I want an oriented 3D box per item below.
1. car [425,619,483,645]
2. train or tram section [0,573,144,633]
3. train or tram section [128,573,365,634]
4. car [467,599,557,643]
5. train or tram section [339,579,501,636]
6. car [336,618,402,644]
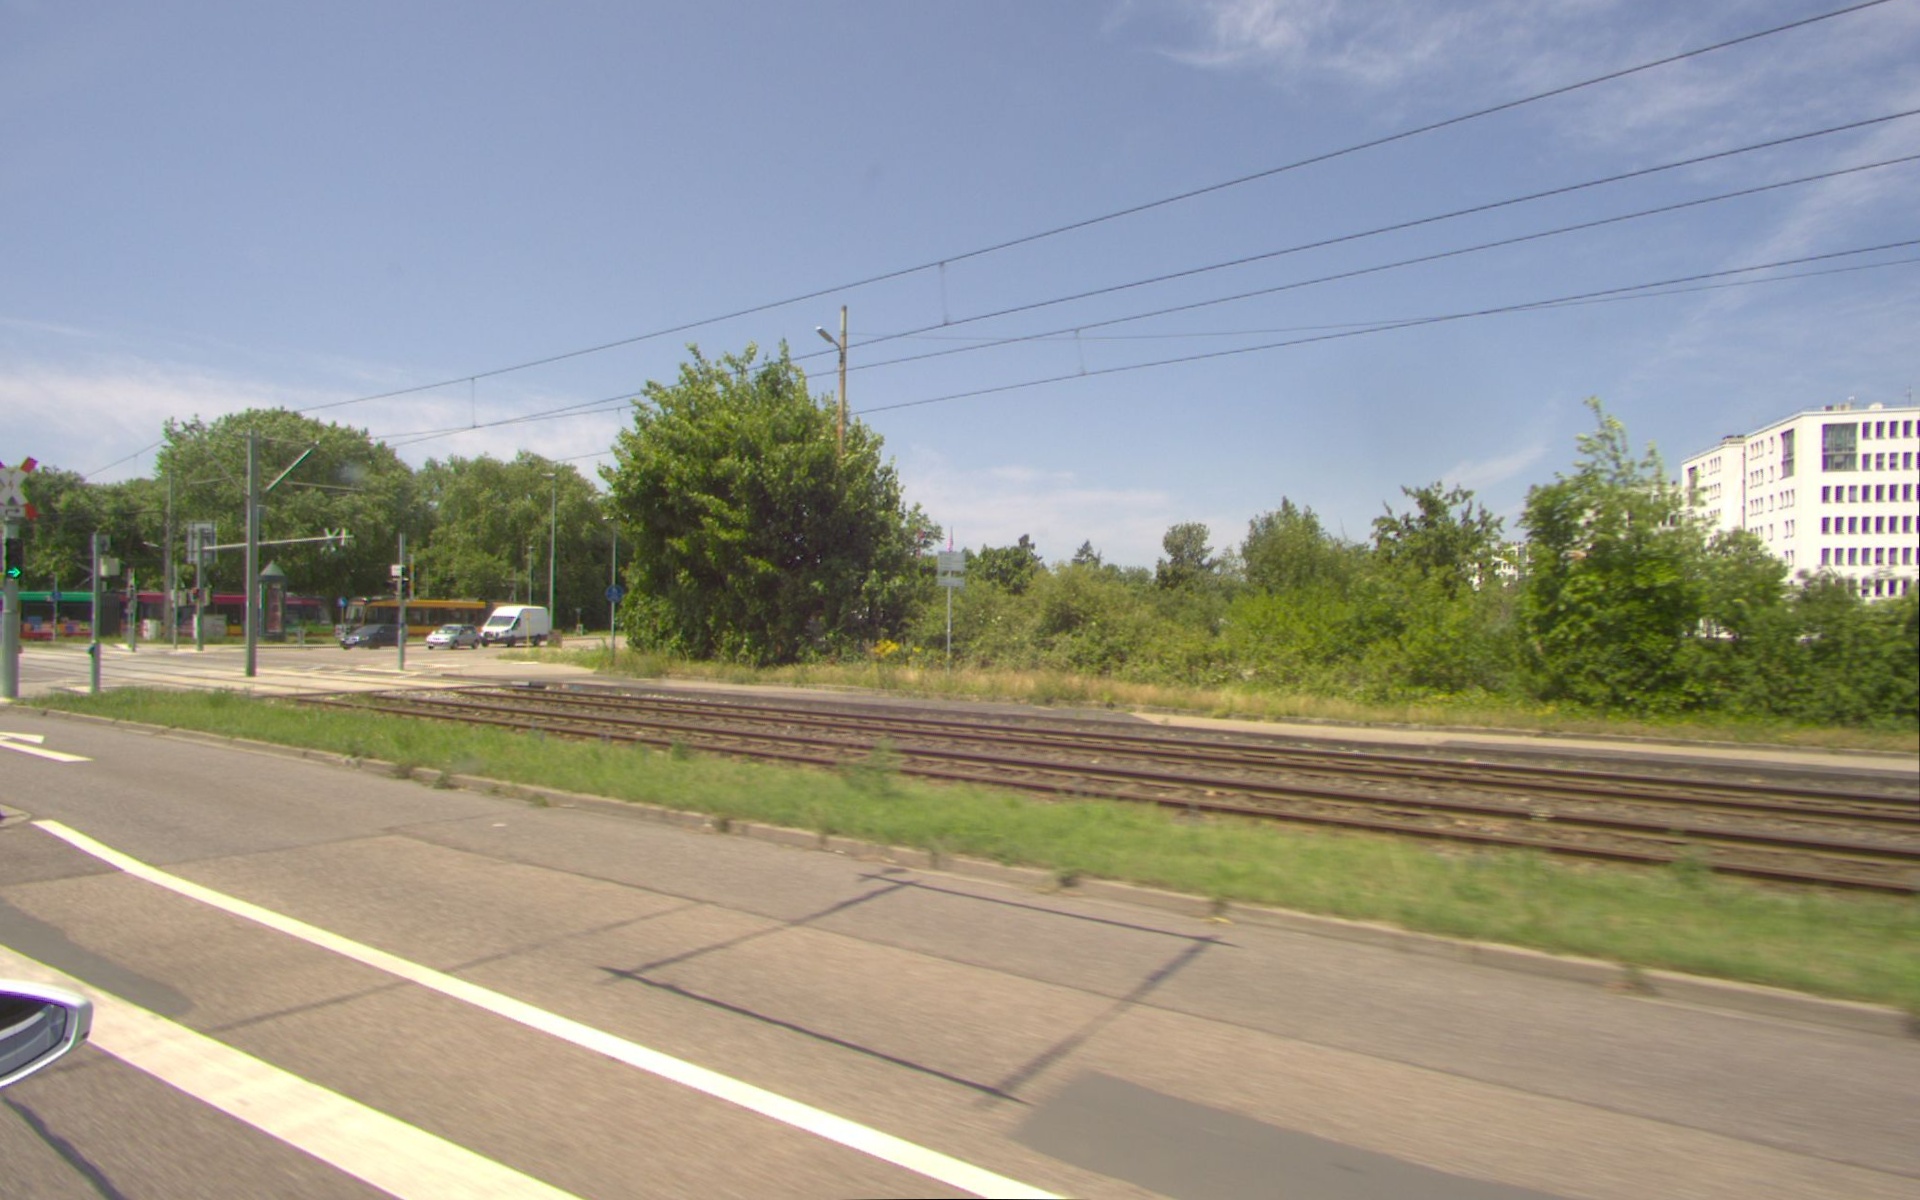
[{"bbox_3d":[-30.753,1.934,60.935,1.608,1.482,3.807,1,-1,-1],"label":"car"},{"bbox_3d":[-63.693,0.209,67.782,13.206,3.857,2.924,0,-3,-12],"label":"train or tram section"},{"bbox_3d":[-51.959,0.406,73.550,13.884,3.966,2.902,2,-4,-39],"label":"train or tram section"},{"bbox_3d":[-30.586,1.442,68.736,2.664,2.838,7.286,1,-1,2],"label":"car"},{"bbox_3d":[-44.874,0.848,84.160,2.872,3.966,13.955,-2,-4,17],"label":"train or tram section"},{"bbox_3d":[-34.272,1.785,58.169,1.608,1.482,3.509,1,-1,2],"label":"car"}]
